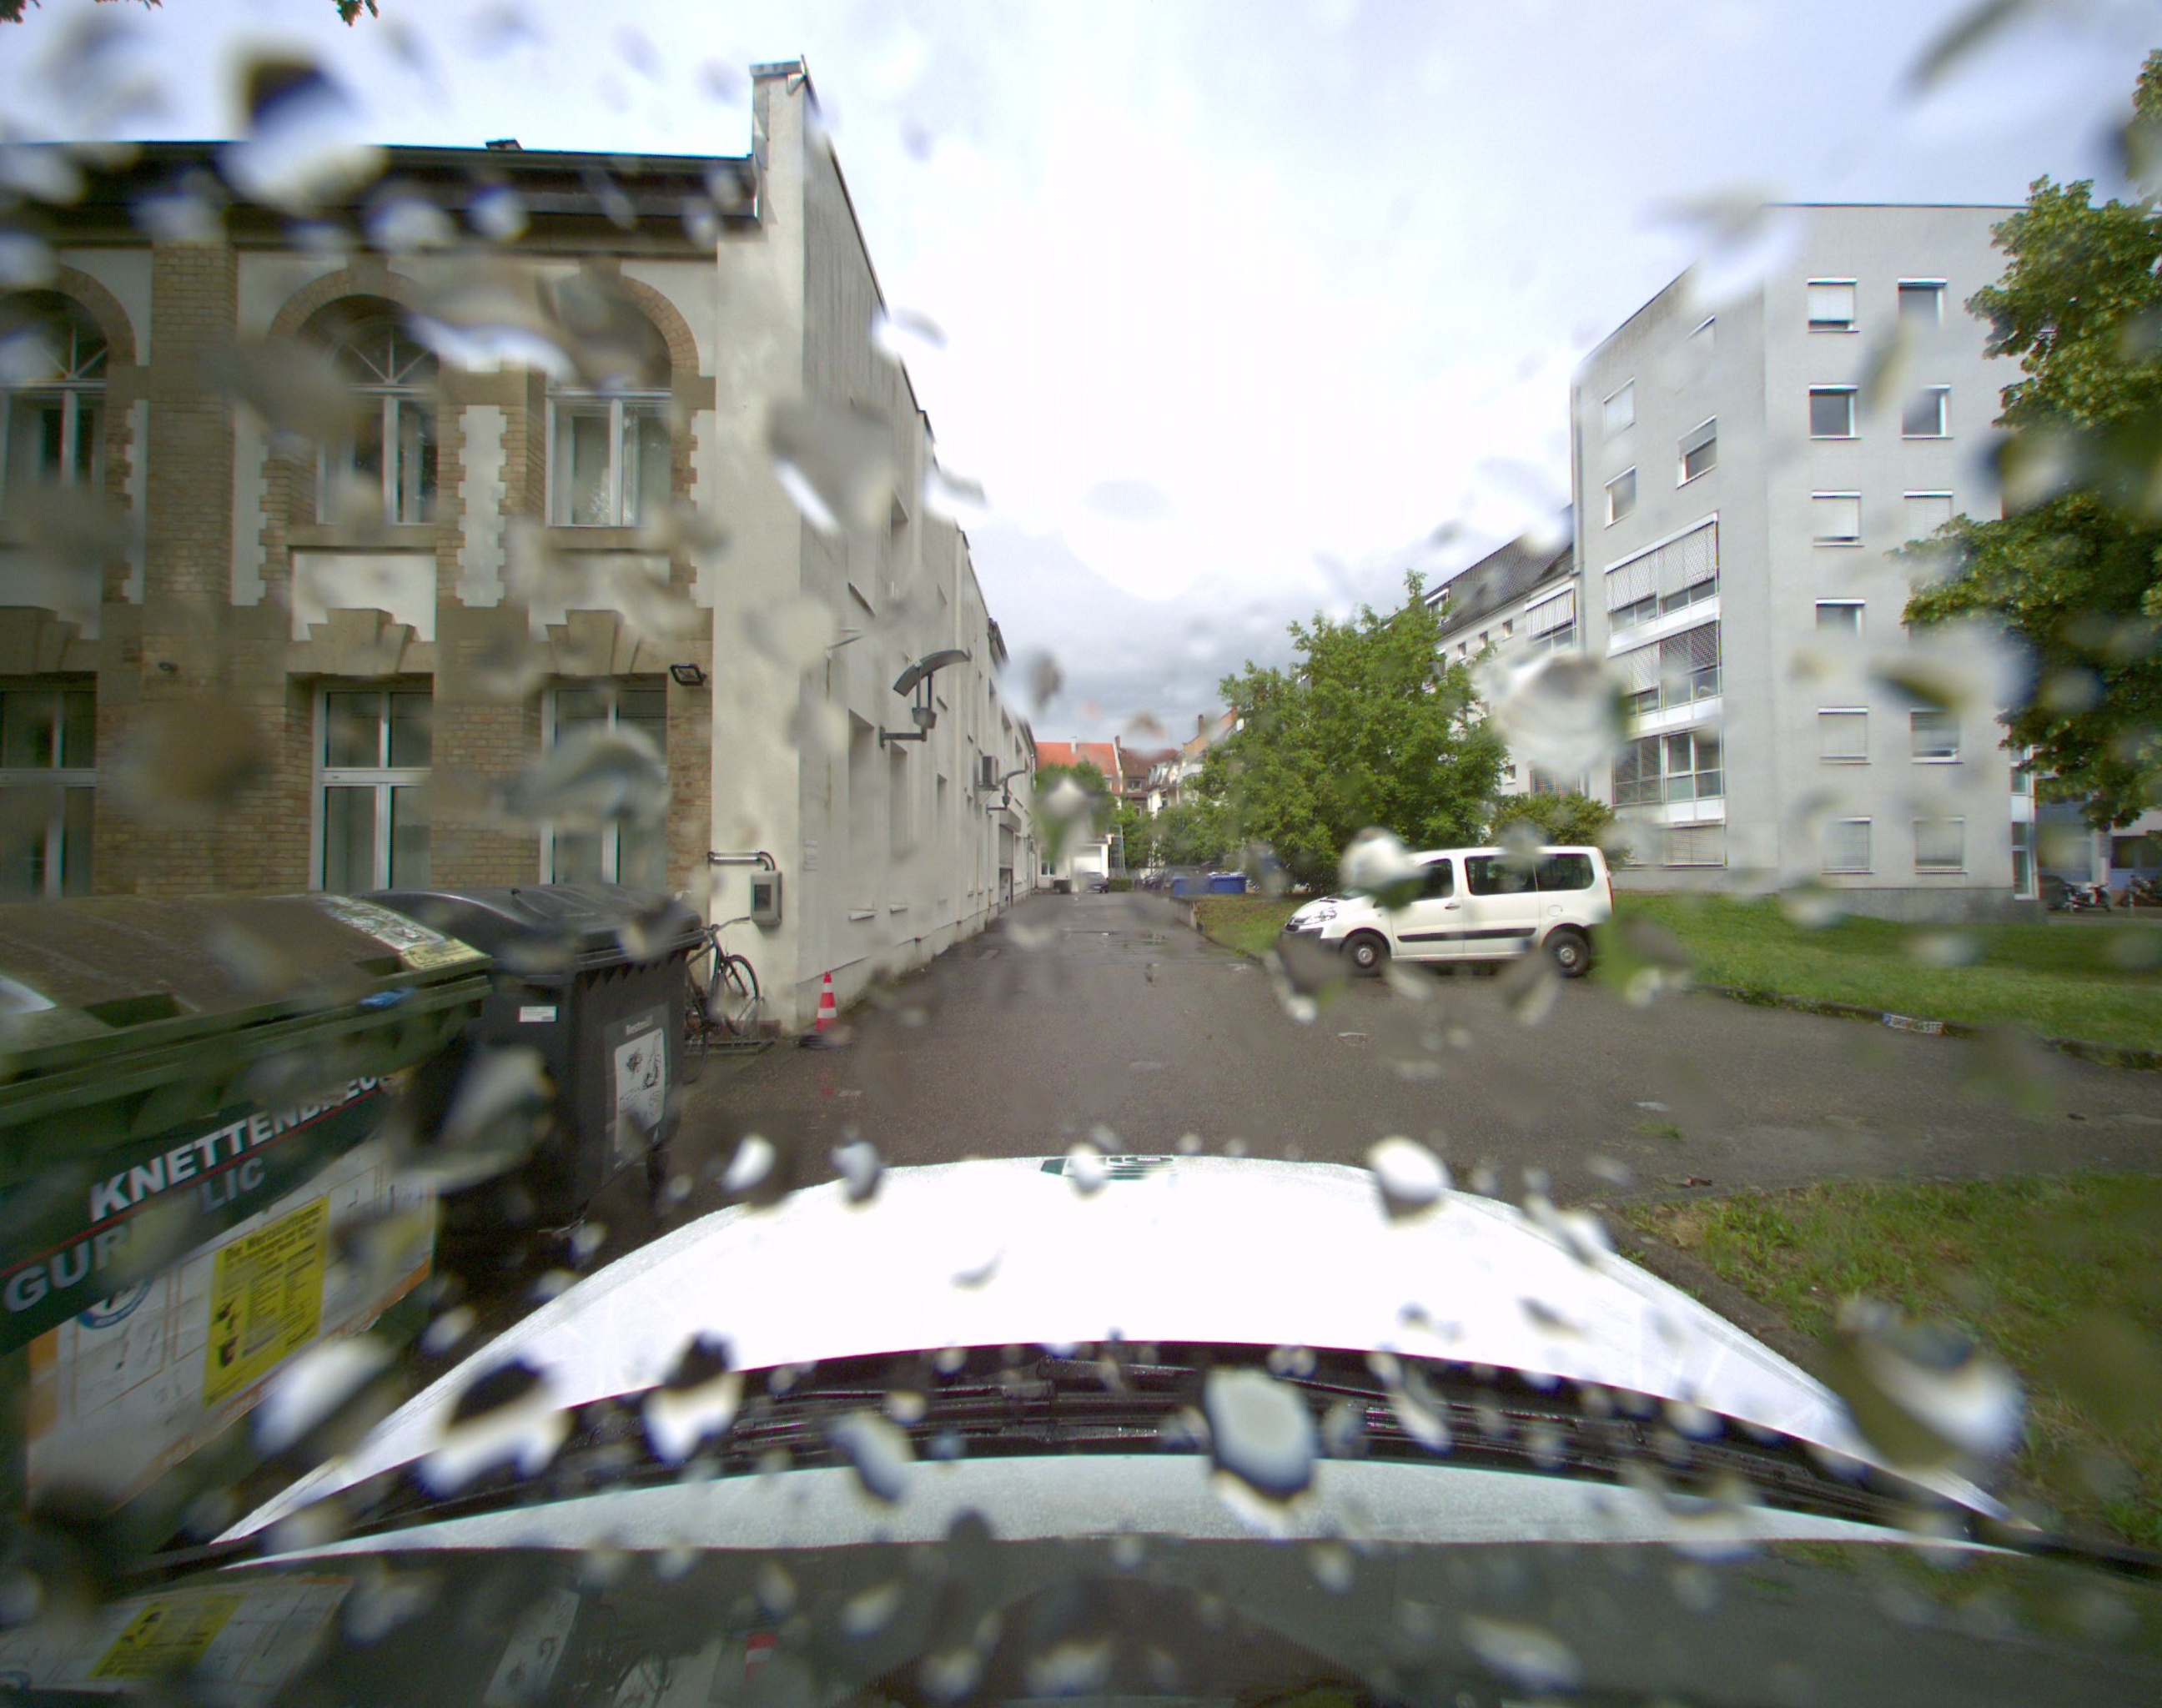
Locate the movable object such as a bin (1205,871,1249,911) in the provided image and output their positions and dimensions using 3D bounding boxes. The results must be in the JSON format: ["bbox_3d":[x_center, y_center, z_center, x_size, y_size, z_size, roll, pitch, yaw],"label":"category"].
[{"bbox_3d":[5.065,1.257,28.323,1.288,1.336,1.197,-1,-2,1],"label":"movable object such as a bin"}]

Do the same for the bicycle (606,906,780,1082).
[{"bbox_3d":[-2.900,0.991,6.255,0.613,1.116,1.519,-1,-2,-1],"label":"bicycle"}]

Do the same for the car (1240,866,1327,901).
[{"bbox_3d":[9.118,1.339,36.840,3.408,1.427,1.685,-2,-2,-4],"label":"car"}]

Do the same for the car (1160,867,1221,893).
[{"bbox_3d":[7.528,1.788,56.094,3.900,1.687,1.815,-1,-2,-3],"label":"car"}]

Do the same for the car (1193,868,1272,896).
[{"bbox_3d":[8.330,1.540,44.949,3.983,1.458,1.769,-1,-2,-7],"label":"car"}]

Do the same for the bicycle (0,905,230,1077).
[{"bbox_3d":[-7.636,0.975,6.115,0.613,1.116,1.787,-1,-2,-1],"label":"bicycle"}]

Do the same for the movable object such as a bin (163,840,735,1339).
[{"bbox_3d":[-2.292,0.731,3.340,1.163,1.483,1.591,-1,-2,-6],"label":"movable object such as a bin"}]

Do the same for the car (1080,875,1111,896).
[{"bbox_3d":[1.003,2.227,58.241,1.975,1.444,3.995,0,-1,-3],"label":"car"}]

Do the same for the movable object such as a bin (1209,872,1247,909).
[{"bbox_3d":[5.416,1.335,30.066,1.182,1.304,1.106,-1,-2,-1],"label":"movable object such as a bin"}]

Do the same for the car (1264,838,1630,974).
[{"bbox_3d":[5.538,0.786,12.860,4.856,1.926,2.099,1,-2,1],"label":"car"}]

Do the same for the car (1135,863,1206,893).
[{"bbox_3d":[6.464,1.687,58.883,4.638,2.003,2.216,-1,-1,-12],"label":"car"}]

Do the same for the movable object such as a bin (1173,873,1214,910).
[{"bbox_3d":[4.120,1.368,29.993,1.367,1.304,1.083,-1,-2,0],"label":"movable object such as a bin"}]

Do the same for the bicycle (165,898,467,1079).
[{"bbox_3d":[-5.655,0.925,6.203,0.613,1.116,1.787,-1,-2,-1],"label":"bicycle"}]

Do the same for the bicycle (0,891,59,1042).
[{"bbox_3d":[-9.103,0.907,6.035,0.613,1.225,1.925,-1,-2,-1],"label":"bicycle"}]

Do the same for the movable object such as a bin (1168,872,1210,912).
[{"bbox_3d":[3.725,1.305,28.232,1.333,1.292,1.095,-1,-1,1],"label":"movable object such as a bin"}]

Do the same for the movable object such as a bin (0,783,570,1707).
[{"bbox_3d":[-2.127,0.678,1.767,1.163,1.483,1.494,-1,-2,-6],"label":"movable object such as a bin"}]

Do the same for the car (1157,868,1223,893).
[{"bbox_3d":[7.056,1.725,52.793,3.904,1.514,1.748,-1,-2,-7],"label":"car"}]
